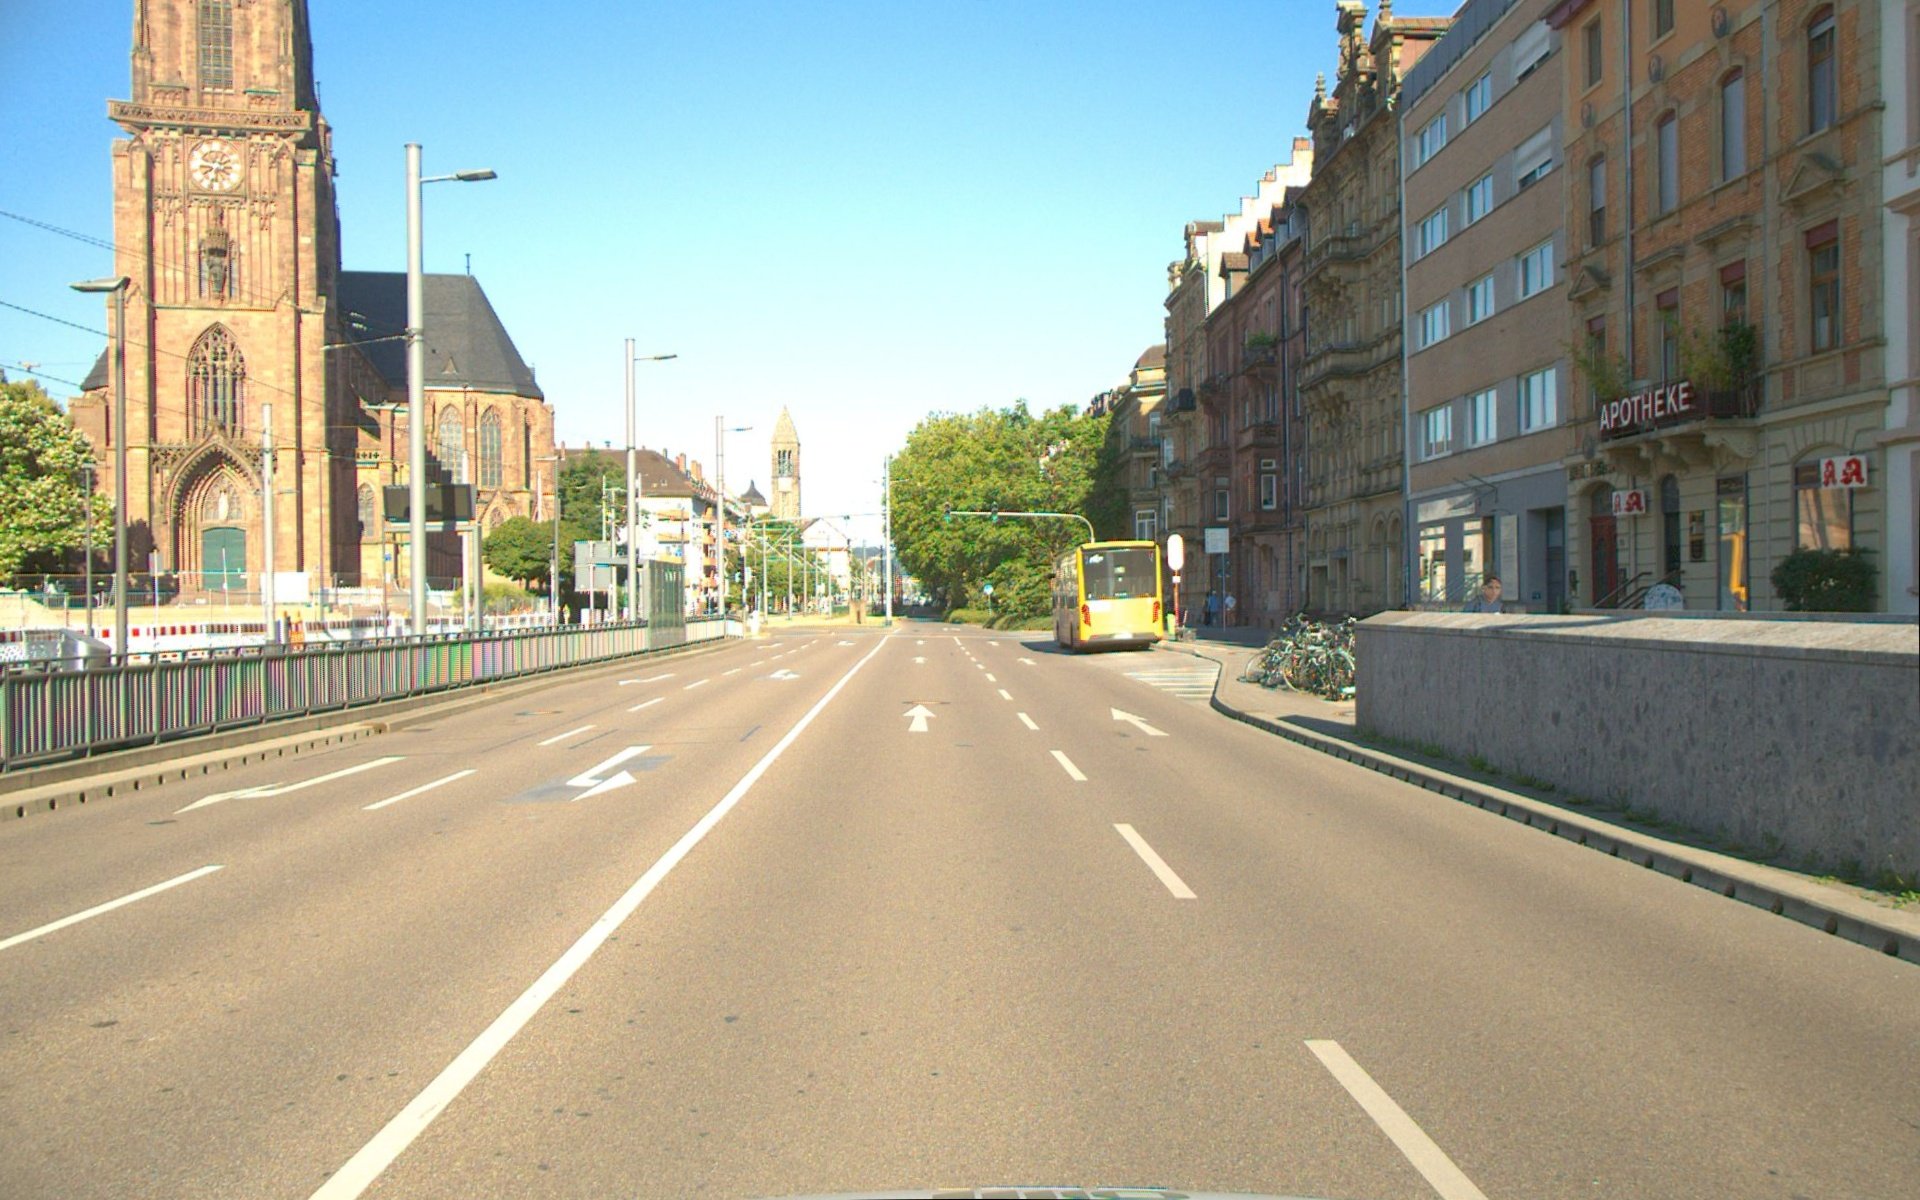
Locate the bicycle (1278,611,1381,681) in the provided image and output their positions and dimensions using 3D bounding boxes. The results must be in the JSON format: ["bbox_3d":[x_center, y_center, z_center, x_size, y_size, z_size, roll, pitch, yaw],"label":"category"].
[{"bbox_3d":[6.524,0.811,29.222,1.729,1.208,0.470,0,1,-2],"label":"bicycle"}]

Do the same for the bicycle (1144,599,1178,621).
[{"bbox_3d":[11.825,0.583,97.333,1.851,1.260,0.489,-2,-1,-14],"label":"bicycle"}]

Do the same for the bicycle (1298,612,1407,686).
[{"bbox_3d":[6.567,0.819,27.694,1.729,1.208,0.470,0,1,-2],"label":"bicycle"}]

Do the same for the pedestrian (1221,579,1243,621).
[{"bbox_3d":[12.993,-0.016,78.981,0.805,1.964,1.136,-1,0,-2],"label":"pedestrian"}]

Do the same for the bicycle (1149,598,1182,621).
[{"bbox_3d":[11.950,0.528,96.182,1.851,1.260,0.489,-2,-1,-14],"label":"bicycle"}]

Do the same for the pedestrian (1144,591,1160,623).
[{"bbox_3d":[10.350,0.374,89.194,0.688,1.685,1.136,-1,0,-2],"label":"pedestrian"}]

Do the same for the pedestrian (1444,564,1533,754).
[{"bbox_3d":[5.918,0.643,18.528,0.735,2.048,0.698,-2,2,-1],"label":"pedestrian"}]

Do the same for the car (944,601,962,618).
[{"bbox_3d":[-0.681,0.932,161.015,1.610,1.537,4.182,-2,0,-1],"label":"car"}]

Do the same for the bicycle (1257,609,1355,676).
[{"bbox_3d":[6.416,0.787,30.719,1.729,1.208,0.470,0,1,-2],"label":"bicycle"}]

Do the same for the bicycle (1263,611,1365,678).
[{"bbox_3d":[6.465,0.806,30.218,1.755,1.208,0.470,0,1,-2],"label":"bicycle"}]

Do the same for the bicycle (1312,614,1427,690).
[{"bbox_3d":[6.602,0.828,26.696,1.729,1.199,0.470,0,1,-2],"label":"bicycle"}]

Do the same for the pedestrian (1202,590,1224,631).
[{"bbox_3d":[12.070,0.495,78.943,0.805,1.964,1.136,-1,0,-2],"label":"pedestrian"}]

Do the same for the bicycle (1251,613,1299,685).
[{"bbox_3d":[5.437,0.824,28.613,0.459,1.167,1.770,0,1,-1],"label":"bicycle"}]

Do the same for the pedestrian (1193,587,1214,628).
[{"bbox_3d":[12.020,0.366,81.616,0.805,1.964,1.136,-1,0,-2],"label":"pedestrian"}]

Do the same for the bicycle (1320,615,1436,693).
[{"bbox_3d":[6.610,0.851,26.194,1.729,1.199,0.470,0,1,-2],"label":"bicycle"}]

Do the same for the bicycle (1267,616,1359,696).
[{"bbox_3d":[5.508,0.857,25.903,0.462,1.167,1.757,0,1,-24],"label":"bicycle"}]

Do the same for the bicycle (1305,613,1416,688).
[{"bbox_3d":[6.577,0.825,27.194,1.729,1.208,0.470,0,1,-2],"label":"bicycle"}]

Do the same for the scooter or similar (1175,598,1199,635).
[{"bbox_3d":[8.068,0.593,58.808,0.423,1.271,1.291,-2,-1,-11],"label":"scooter or similar"}]

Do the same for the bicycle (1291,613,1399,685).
[{"bbox_3d":[6.554,0.828,28.200,1.729,1.208,0.470,0,1,-2],"label":"bicycle"}]

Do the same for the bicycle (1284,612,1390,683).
[{"bbox_3d":[6.536,0.822,28.720,1.729,1.208,0.470,0,1,-2],"label":"bicycle"}]

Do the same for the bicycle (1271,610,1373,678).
[{"bbox_3d":[6.495,0.786,29.728,1.729,1.208,0.470,0,1,-2],"label":"bicycle"}]

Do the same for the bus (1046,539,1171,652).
[{"bbox_3d":[4.721,-0.136,55.132,2.660,3.236,12.537,-2,0,-1],"label":"bus"}]
